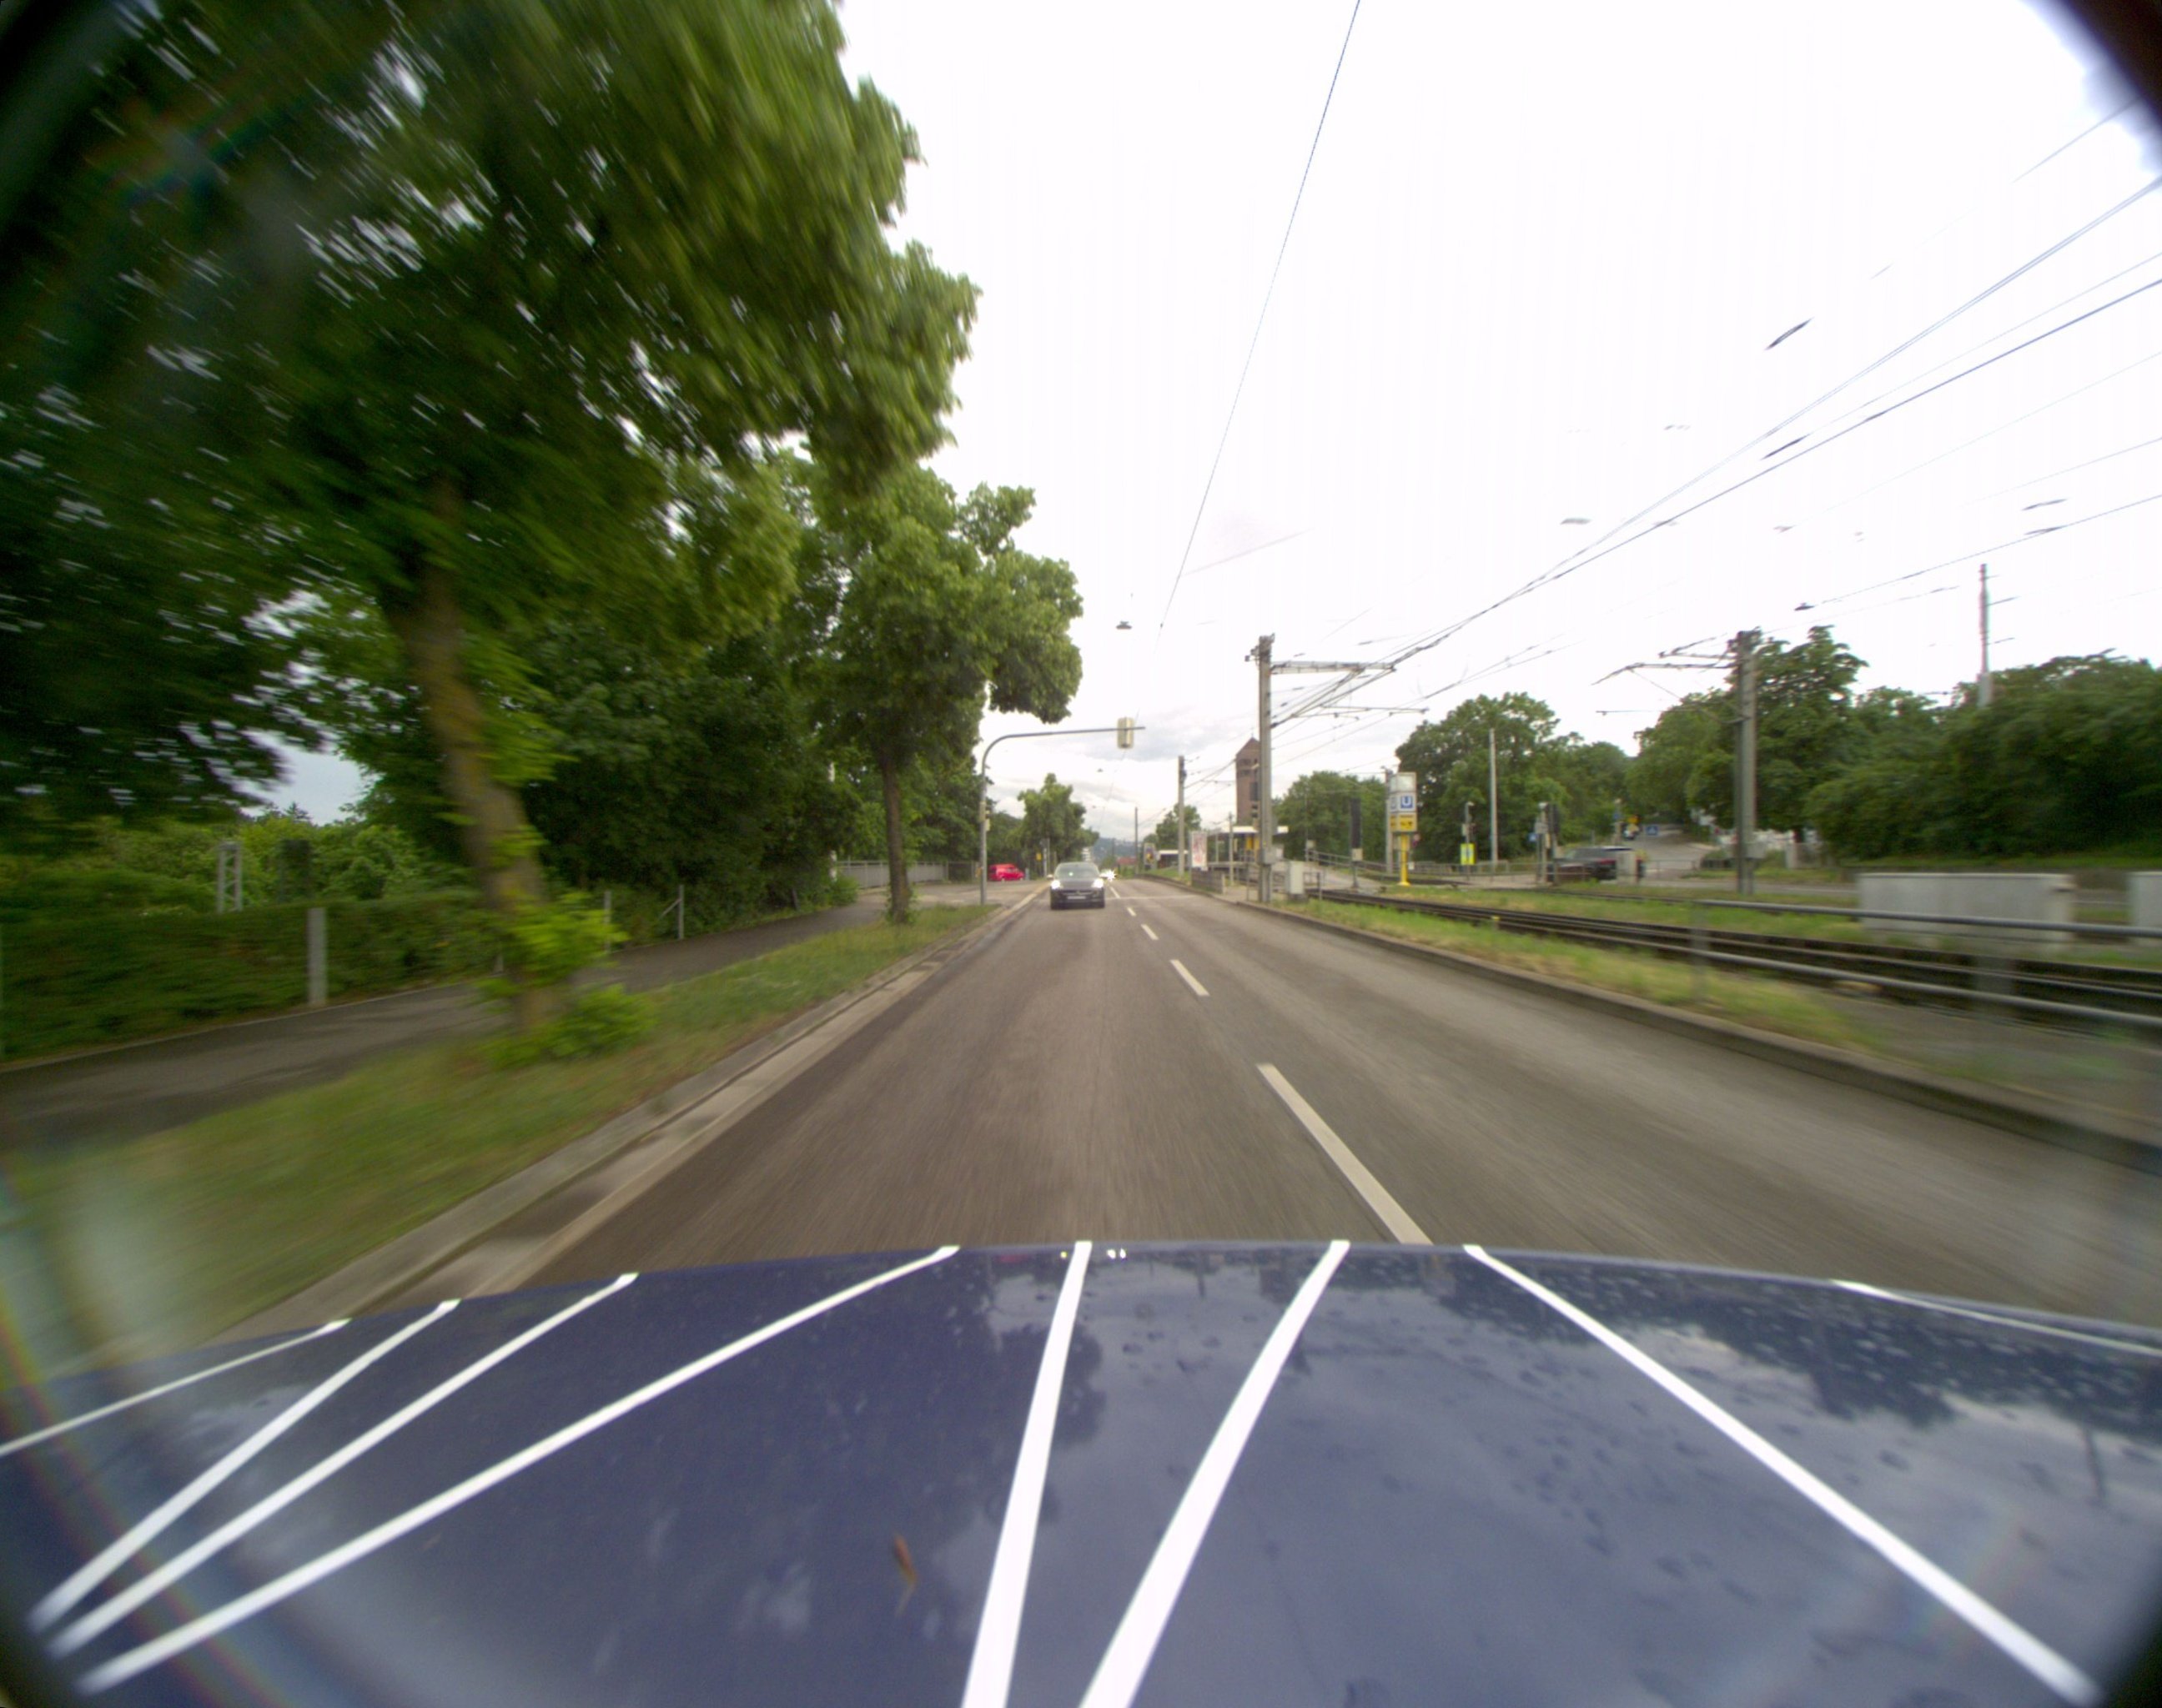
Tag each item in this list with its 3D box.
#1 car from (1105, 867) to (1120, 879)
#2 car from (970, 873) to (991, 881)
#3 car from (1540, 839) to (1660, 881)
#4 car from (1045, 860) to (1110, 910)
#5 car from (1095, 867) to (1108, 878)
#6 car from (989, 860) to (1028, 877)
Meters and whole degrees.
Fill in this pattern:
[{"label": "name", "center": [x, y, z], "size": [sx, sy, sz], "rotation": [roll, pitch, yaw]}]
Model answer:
[{"label": "car", "center": [4.078, 2.467, 99.144], "size": [1.899, 1.432, 4.247], "rotation": [-2, -1, 1]}, {"label": "car", "center": [-18.430, 4.174, 139.081], "size": [3.793, 1.505, 1.893], "rotation": [-1, 0, 45]}, {"label": "car", "center": [23.314, 0.278, 34.413], "size": [2.088, 1.728, 4.862], "rotation": [-1, 0, 0]}, {"label": "car", "center": [-0.073, 0.973, 24.954], "size": [1.899, 1.432, 4.474], "rotation": [-2, -1, 1]}, {"label": "car", "center": [3.190, 2.901, 117.773], "size": [1.812, 1.566, 3.971], "rotation": [-2, 0, 1]}, {"label": "car", "center": [-9.685, 1.940, 101.648], "size": [1.994, 2.179, 5.041], "rotation": [-2, 0, 43]}]
